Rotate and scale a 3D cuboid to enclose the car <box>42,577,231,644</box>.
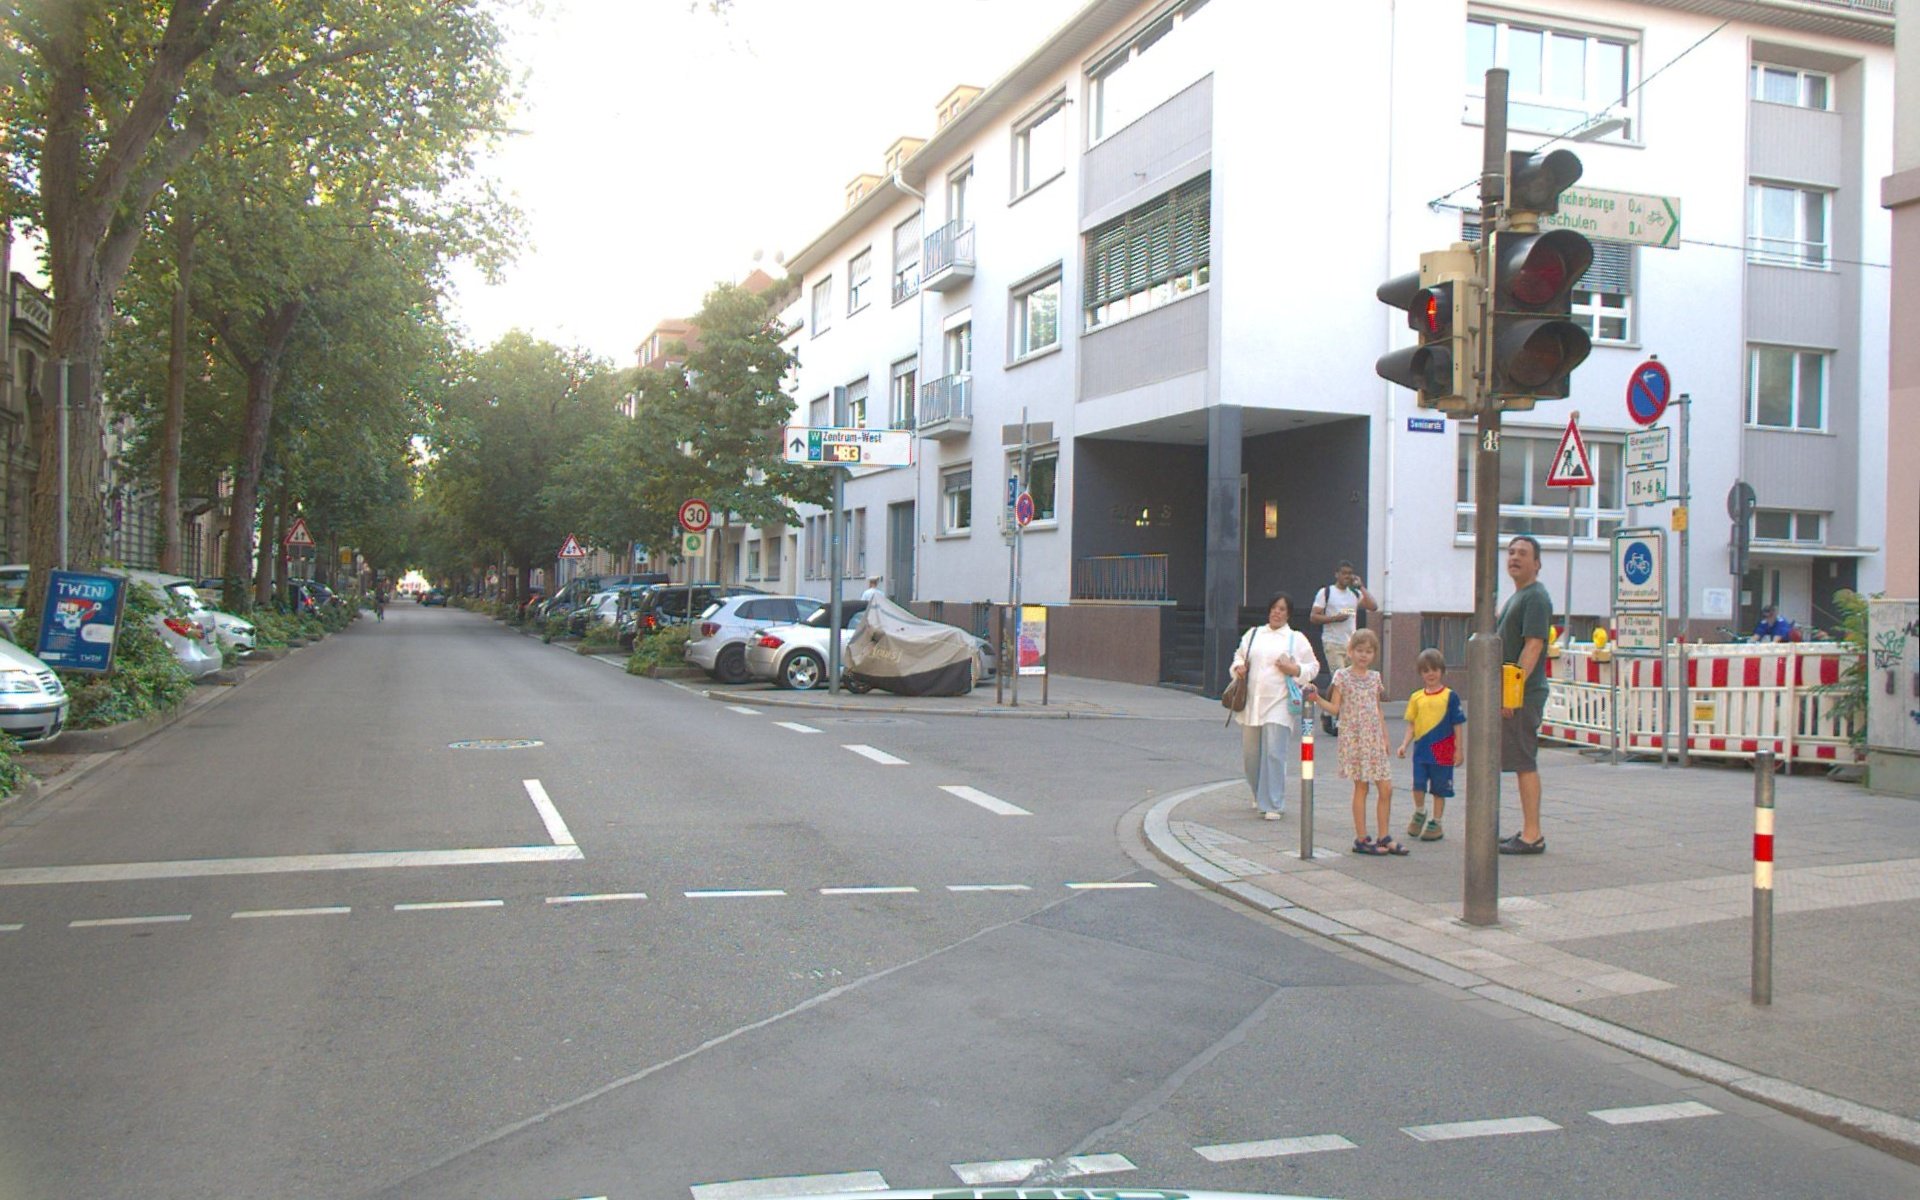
[{"bbox_3d":[-20.581,0.269,41.497,3.976,1.618,1.824,1,0,-18],"label":"car"}]

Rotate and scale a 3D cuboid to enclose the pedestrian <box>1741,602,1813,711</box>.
[{"bbox_3d":[11.341,0.776,22.968,0.726,1.492,0.559,1,-1,-18],"label":"pedestrian"}]

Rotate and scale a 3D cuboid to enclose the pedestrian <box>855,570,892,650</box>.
[{"bbox_3d":[-1.962,0.231,37.475,0.692,1.782,0.697,2,0,-15],"label":"pedestrian"}]

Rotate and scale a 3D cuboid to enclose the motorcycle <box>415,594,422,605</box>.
[{"bbox_3d":[-64.543,-0.076,197.177,0.806,1.258,2.014,2,-1,-18],"label":"motorcycle"}]

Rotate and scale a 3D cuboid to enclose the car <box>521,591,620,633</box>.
[{"bbox_3d":[-16.196,0.498,68.918,3.909,1.605,1.904,2,-1,-13],"label":"car"}]

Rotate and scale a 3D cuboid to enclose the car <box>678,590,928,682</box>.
[{"bbox_3d":[-2.670,0.588,27.995,3.953,1.467,1.698,0,0,-19],"label":"car"}]

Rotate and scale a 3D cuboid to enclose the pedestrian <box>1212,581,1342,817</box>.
[{"bbox_3d":[2.154,0.642,11.192,0.757,1.527,0.802,0,0,19],"label":"pedestrian"}]

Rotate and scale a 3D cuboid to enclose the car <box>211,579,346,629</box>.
[{"bbox_3d":[-25.336,0.146,61.619,4.477,1.721,1.824,1,0,-18],"label":"car"}]

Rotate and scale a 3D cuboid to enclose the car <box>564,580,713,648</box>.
[{"bbox_3d":[-9.077,0.393,46.679,3.953,1.847,1.698,0,0,-19],"label":"car"}]

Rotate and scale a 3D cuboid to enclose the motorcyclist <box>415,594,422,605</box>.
[{"bbox_3d":[-64.505,-0.080,197.070,0.806,1.258,0.846,2,-1,-19],"label":"motorcyclist"}]

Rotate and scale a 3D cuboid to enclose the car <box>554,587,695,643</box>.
[{"bbox_3d":[-10.045,0.453,49.482,3.953,1.557,1.698,1,0,-19],"label":"car"}]

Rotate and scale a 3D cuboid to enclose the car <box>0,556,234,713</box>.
[{"bbox_3d":[-10.887,0.374,18.992,4.477,1.718,1.824,1,0,-18],"label":"car"}]

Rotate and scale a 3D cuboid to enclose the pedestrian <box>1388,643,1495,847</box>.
[{"bbox_3d":[2.912,0.852,10.053,0.553,1.140,0.838,0,1,11],"label":"pedestrian"}]

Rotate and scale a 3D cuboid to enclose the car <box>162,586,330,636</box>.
[{"bbox_3d":[-21.441,0.320,49.867,4.477,1.434,1.824,1,0,-18],"label":"car"}]

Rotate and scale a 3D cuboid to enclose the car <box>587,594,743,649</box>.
[{"bbox_3d":[-7.989,0.585,44.761,3.953,1.434,1.698,0,0,-19],"label":"car"}]

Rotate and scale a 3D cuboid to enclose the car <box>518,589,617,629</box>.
[{"bbox_3d":[-16.770,0.387,70.602,3.953,1.630,1.698,1,0,-19],"label":"car"}]

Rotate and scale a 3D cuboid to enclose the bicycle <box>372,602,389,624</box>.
[{"bbox_3d":[-25.844,0.572,73.754,0.564,0.966,1.731,2,-1,-24],"label":"bicycle"}]

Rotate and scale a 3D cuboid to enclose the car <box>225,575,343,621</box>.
[{"bbox_3d":[-28.685,-0.061,70.338,4.477,1.833,1.824,1,0,-18],"label":"car"}]

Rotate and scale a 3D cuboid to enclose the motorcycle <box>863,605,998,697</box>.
[{"bbox_3d":[-0.409,0.693,22.652,1.767,1.220,0.611,0,0,-10],"label":"motorcycle"}]

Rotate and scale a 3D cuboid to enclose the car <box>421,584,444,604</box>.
[{"bbox_3d":[-46.502,-0.530,145.723,1.798,1.589,4.005,2,-1,-19],"label":"car"}]

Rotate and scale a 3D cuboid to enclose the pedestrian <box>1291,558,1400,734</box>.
[{"bbox_3d":[4.217,0.495,18.153,0.755,1.873,0.939,2,0,-18],"label":"pedestrian"}]

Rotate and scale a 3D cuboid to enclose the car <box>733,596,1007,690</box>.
[{"bbox_3d":[-1.409,0.641,25.651,3.952,1.366,1.698,0,0,-18],"label":"car"}]

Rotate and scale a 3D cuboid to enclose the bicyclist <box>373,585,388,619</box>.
[{"bbox_3d":[-25.868,0.099,73.824,0.564,1.495,0.638,2,-1,-25],"label":"bicyclist"}]

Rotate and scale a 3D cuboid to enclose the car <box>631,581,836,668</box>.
[{"bbox_3d":[-4.668,0.490,34.045,3.953,1.720,1.698,0,0,-19],"label":"car"}]

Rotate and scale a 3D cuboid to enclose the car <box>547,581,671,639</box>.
[{"bbox_3d":[-11.979,0.343,56.479,3.953,1.862,1.698,1,0,-19],"label":"car"}]

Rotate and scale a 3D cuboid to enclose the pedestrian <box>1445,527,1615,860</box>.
[{"bbox_3d":[3.307,0.501,9.681,0.869,1.847,0.794,1,2,16],"label":"pedestrian"}]

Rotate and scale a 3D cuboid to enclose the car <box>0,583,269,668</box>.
[{"bbox_3d":[-14.456,0.432,28.587,4.477,1.396,1.824,1,0,-18],"label":"car"}]

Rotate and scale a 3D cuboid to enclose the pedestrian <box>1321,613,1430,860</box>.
[{"bbox_3d":[2.379,0.762,9.498,0.494,1.359,0.541,1,0,4],"label":"pedestrian"}]

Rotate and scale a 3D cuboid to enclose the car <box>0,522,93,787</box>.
[{"bbox_3d":[-8.841,0.357,11.801,4.483,1.867,1.821,1,0,-22],"label":"car"}]
